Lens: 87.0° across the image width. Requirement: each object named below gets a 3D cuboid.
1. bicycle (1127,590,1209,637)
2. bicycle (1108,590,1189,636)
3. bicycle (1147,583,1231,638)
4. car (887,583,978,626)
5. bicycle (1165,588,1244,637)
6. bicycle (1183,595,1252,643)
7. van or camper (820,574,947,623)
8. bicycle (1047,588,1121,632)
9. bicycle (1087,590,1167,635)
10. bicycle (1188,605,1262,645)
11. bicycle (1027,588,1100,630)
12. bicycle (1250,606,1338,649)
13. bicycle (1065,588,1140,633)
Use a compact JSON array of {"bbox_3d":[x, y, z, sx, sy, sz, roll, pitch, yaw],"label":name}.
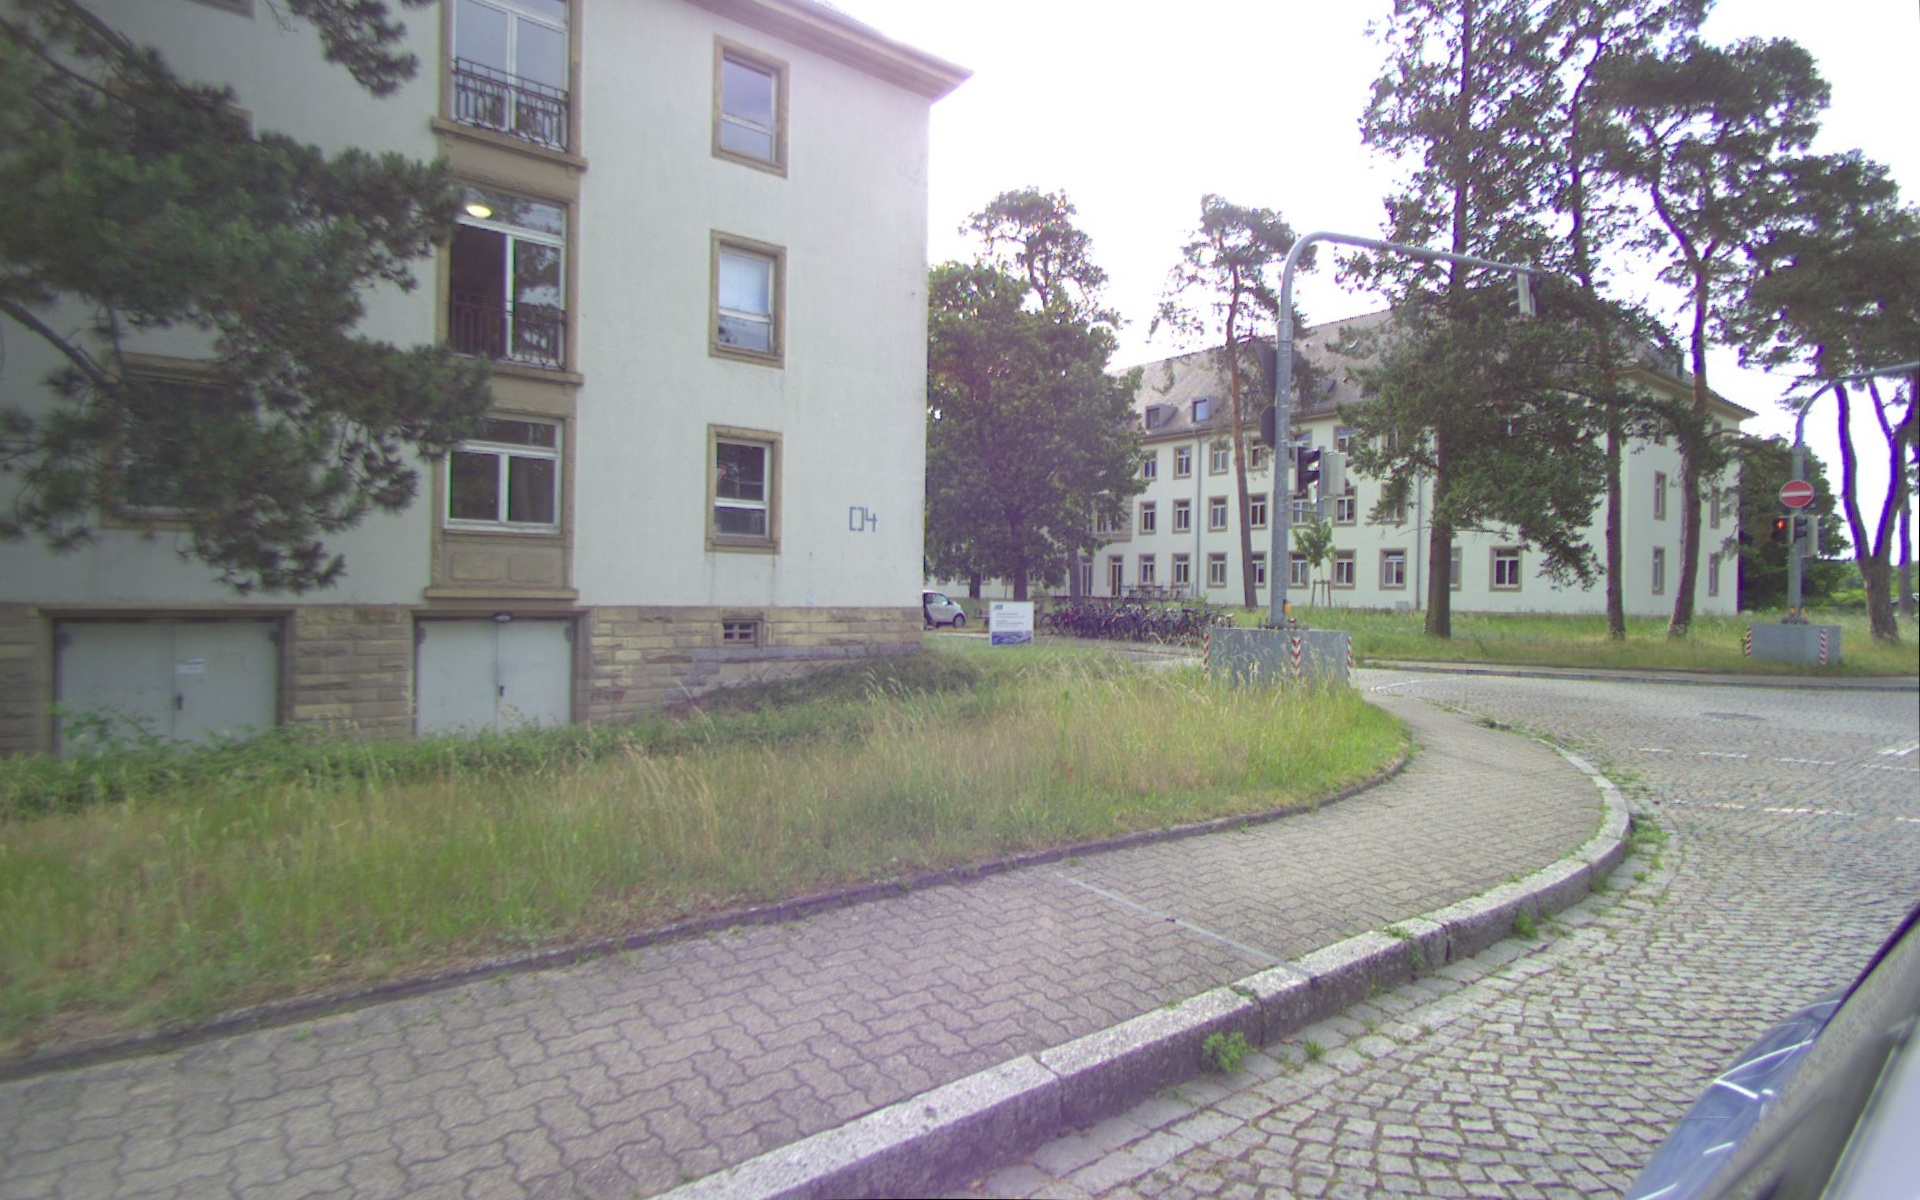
[{"bbox_3d":[6.545,0.413,31.725,2.760,1.389,0.950,1,0,-39],"label":"bicycle"},{"bbox_3d":[5.966,0.396,31.951,2.760,1.389,0.950,1,0,-39],"label":"bicycle"},{"bbox_3d":[7.013,0.325,30.909,2.760,1.603,0.950,1,0,-39],"label":"bicycle"},{"bbox_3d":[-1.130,0.177,41.455,3.176,1.641,1.936,2,-1,-39],"label":"car"},{"bbox_3d":[7.272,0.355,30.010,2.580,1.384,0.874,1,0,-39],"label":"bicycle"},{"bbox_3d":[7.493,0.536,29.409,2.081,1.323,0.874,1,0,-39],"label":"bicycle"},{"bbox_3d":[-3.243,-0.062,44.135,2.227,1.982,5.677,1,1,40],"label":"van or camper"},{"bbox_3d":[4.179,0.327,33.974,2.530,1.389,0.950,1,0,-39],"label":"bicycle"},{"bbox_3d":[5.400,0.384,32.642,2.760,1.389,0.950,1,0,-39],"label":"bicycle"},{"bbox_3d":[7.197,0.668,27.550,0.715,1.009,1.980,1,0,-33],"label":"bicycle"},{"bbox_3d":[3.542,0.311,34.540,2.530,1.389,0.950,1,0,-39],"label":"bicycle"},{"bbox_3d":[8.527,0.696,25.937,0.887,1.009,1.977,1,1,-38],"label":"bicycle"},{"bbox_3d":[4.701,0.338,33.316,2.530,1.389,0.950,1,0,-39],"label":"bicycle"}]
